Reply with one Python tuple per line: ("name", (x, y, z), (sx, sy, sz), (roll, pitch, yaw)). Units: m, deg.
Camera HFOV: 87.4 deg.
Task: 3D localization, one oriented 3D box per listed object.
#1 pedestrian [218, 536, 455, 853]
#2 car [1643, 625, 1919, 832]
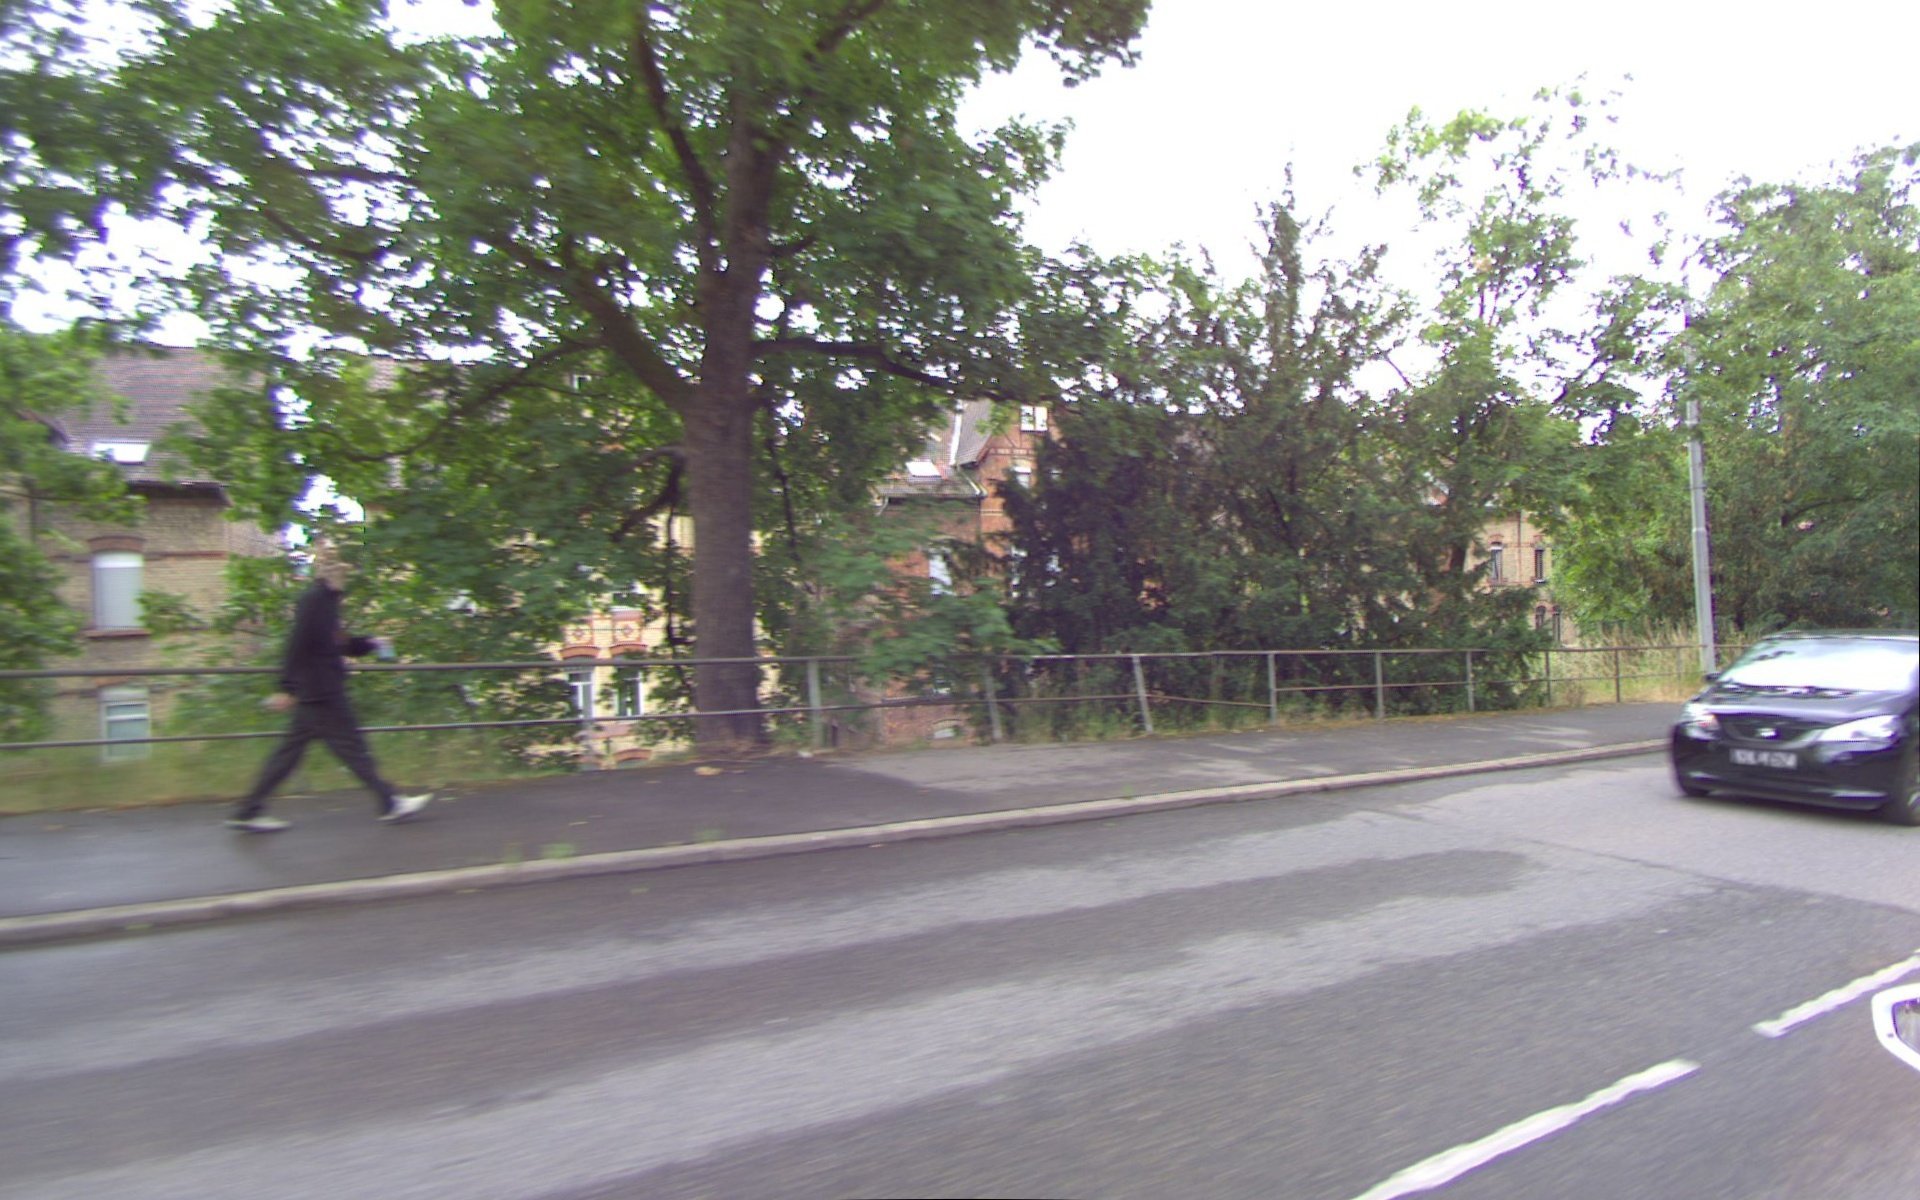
("pedestrian", (-3.893, 0.522, 6.327), (1.196, 1.798, 0.784), (0, 3, -33))
("car", (7.862, 0.961, 8.842), (3.644, 1.466, 1.661), (1, -1, -30))
